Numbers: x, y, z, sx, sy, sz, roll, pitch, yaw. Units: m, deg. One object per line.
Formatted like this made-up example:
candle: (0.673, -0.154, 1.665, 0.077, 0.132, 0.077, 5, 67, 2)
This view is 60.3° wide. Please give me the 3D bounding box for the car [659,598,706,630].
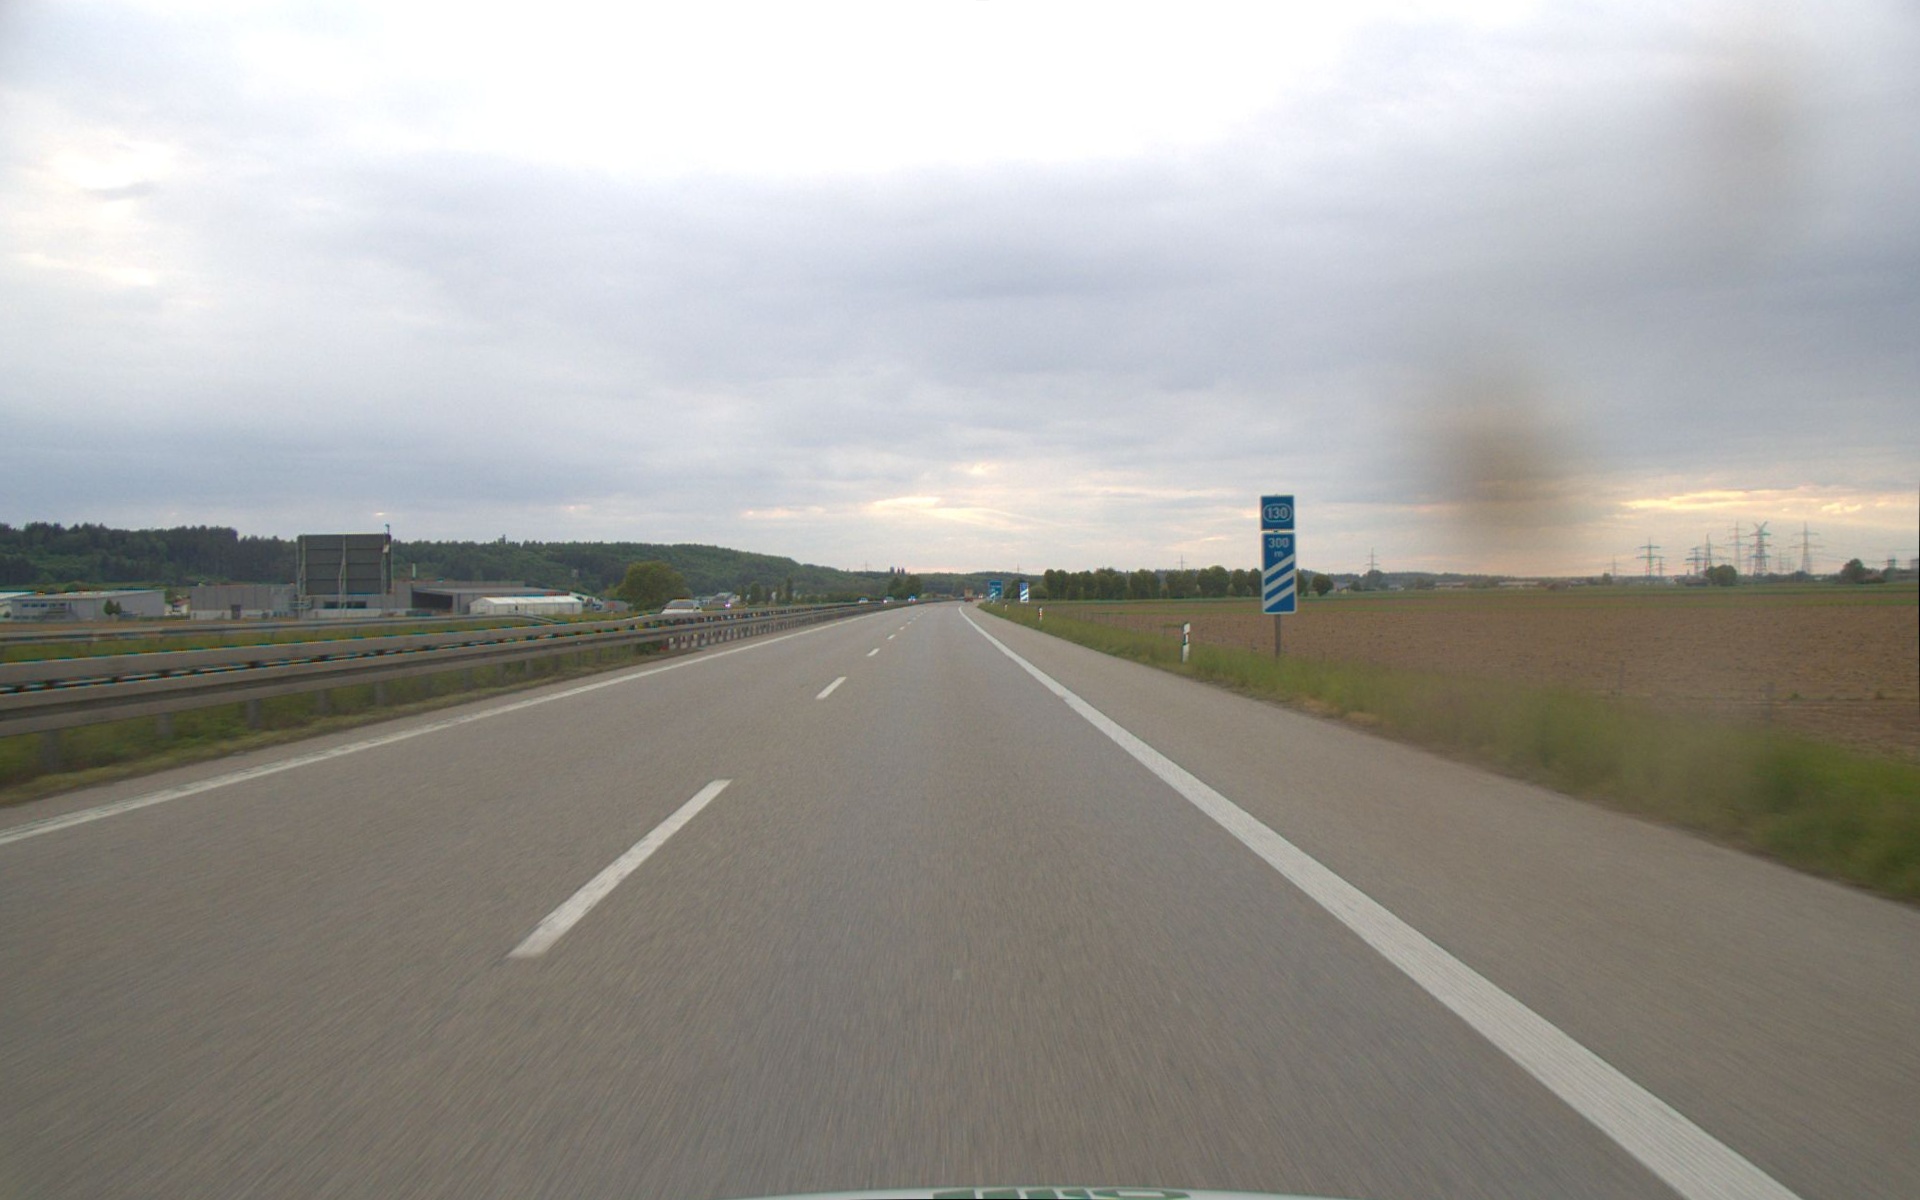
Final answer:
car: (-14.522, 0.728, 86.685, 1.705, 1.602, 4.855, 1, 0, -1)
